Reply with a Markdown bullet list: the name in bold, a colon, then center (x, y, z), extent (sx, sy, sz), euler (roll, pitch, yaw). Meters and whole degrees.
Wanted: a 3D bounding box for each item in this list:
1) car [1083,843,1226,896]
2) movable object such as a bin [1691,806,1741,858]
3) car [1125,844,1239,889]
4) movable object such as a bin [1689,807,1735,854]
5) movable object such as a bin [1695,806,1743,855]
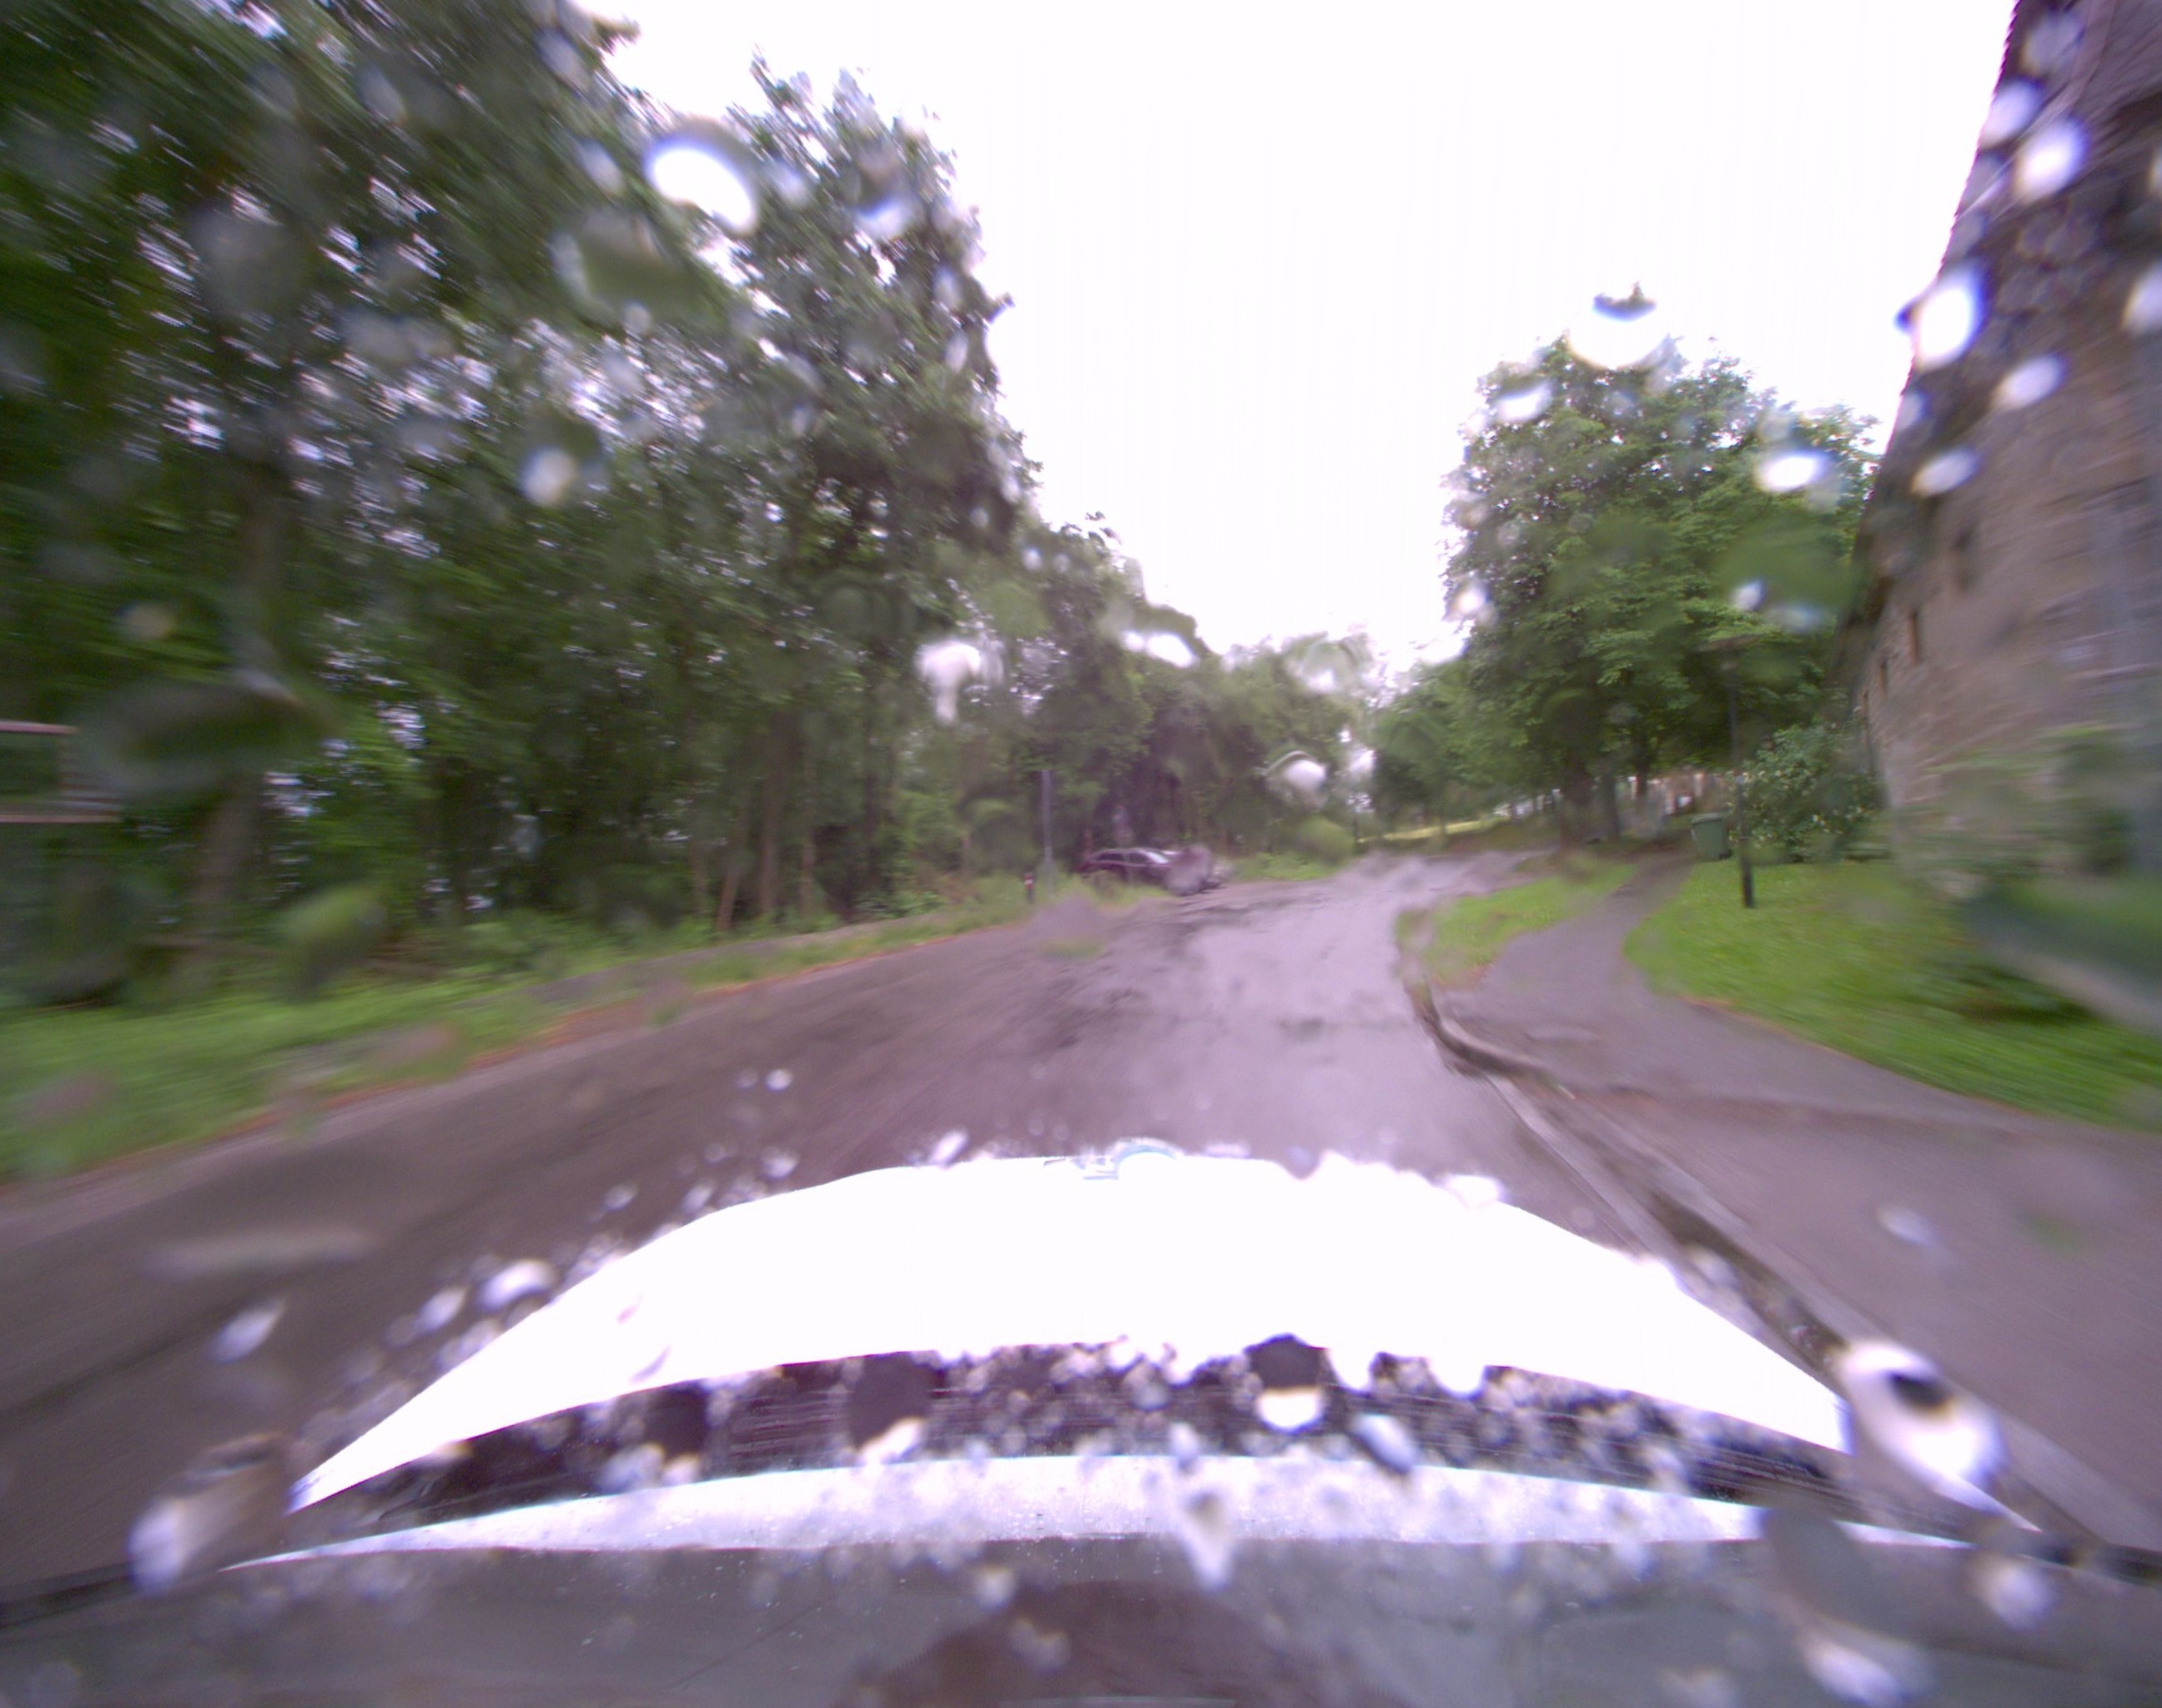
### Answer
- **car**: center (2.635, 0.589, 29.714), extent (4.778, 1.677, 1.888), euler (-3, 1, 33)
- **movable object such as a bin**: center (14.423, -0.506, 18.497), extent (0.689, 1.039, 0.579), euler (-13, -6, 42)
- **car**: center (4.009, 0.497, 32.647), extent (4.095, 1.554, 1.785), euler (-3, 1, 34)
- **movable object such as a bin**: center (15.571, -0.584, 20.098), extent (0.689, 1.039, 0.664), euler (-13, -6, 42)
- **movable object such as a bin**: center (15.245, -0.566, 19.473), extent (0.689, 1.039, 0.579), euler (-13, -6, 42)
